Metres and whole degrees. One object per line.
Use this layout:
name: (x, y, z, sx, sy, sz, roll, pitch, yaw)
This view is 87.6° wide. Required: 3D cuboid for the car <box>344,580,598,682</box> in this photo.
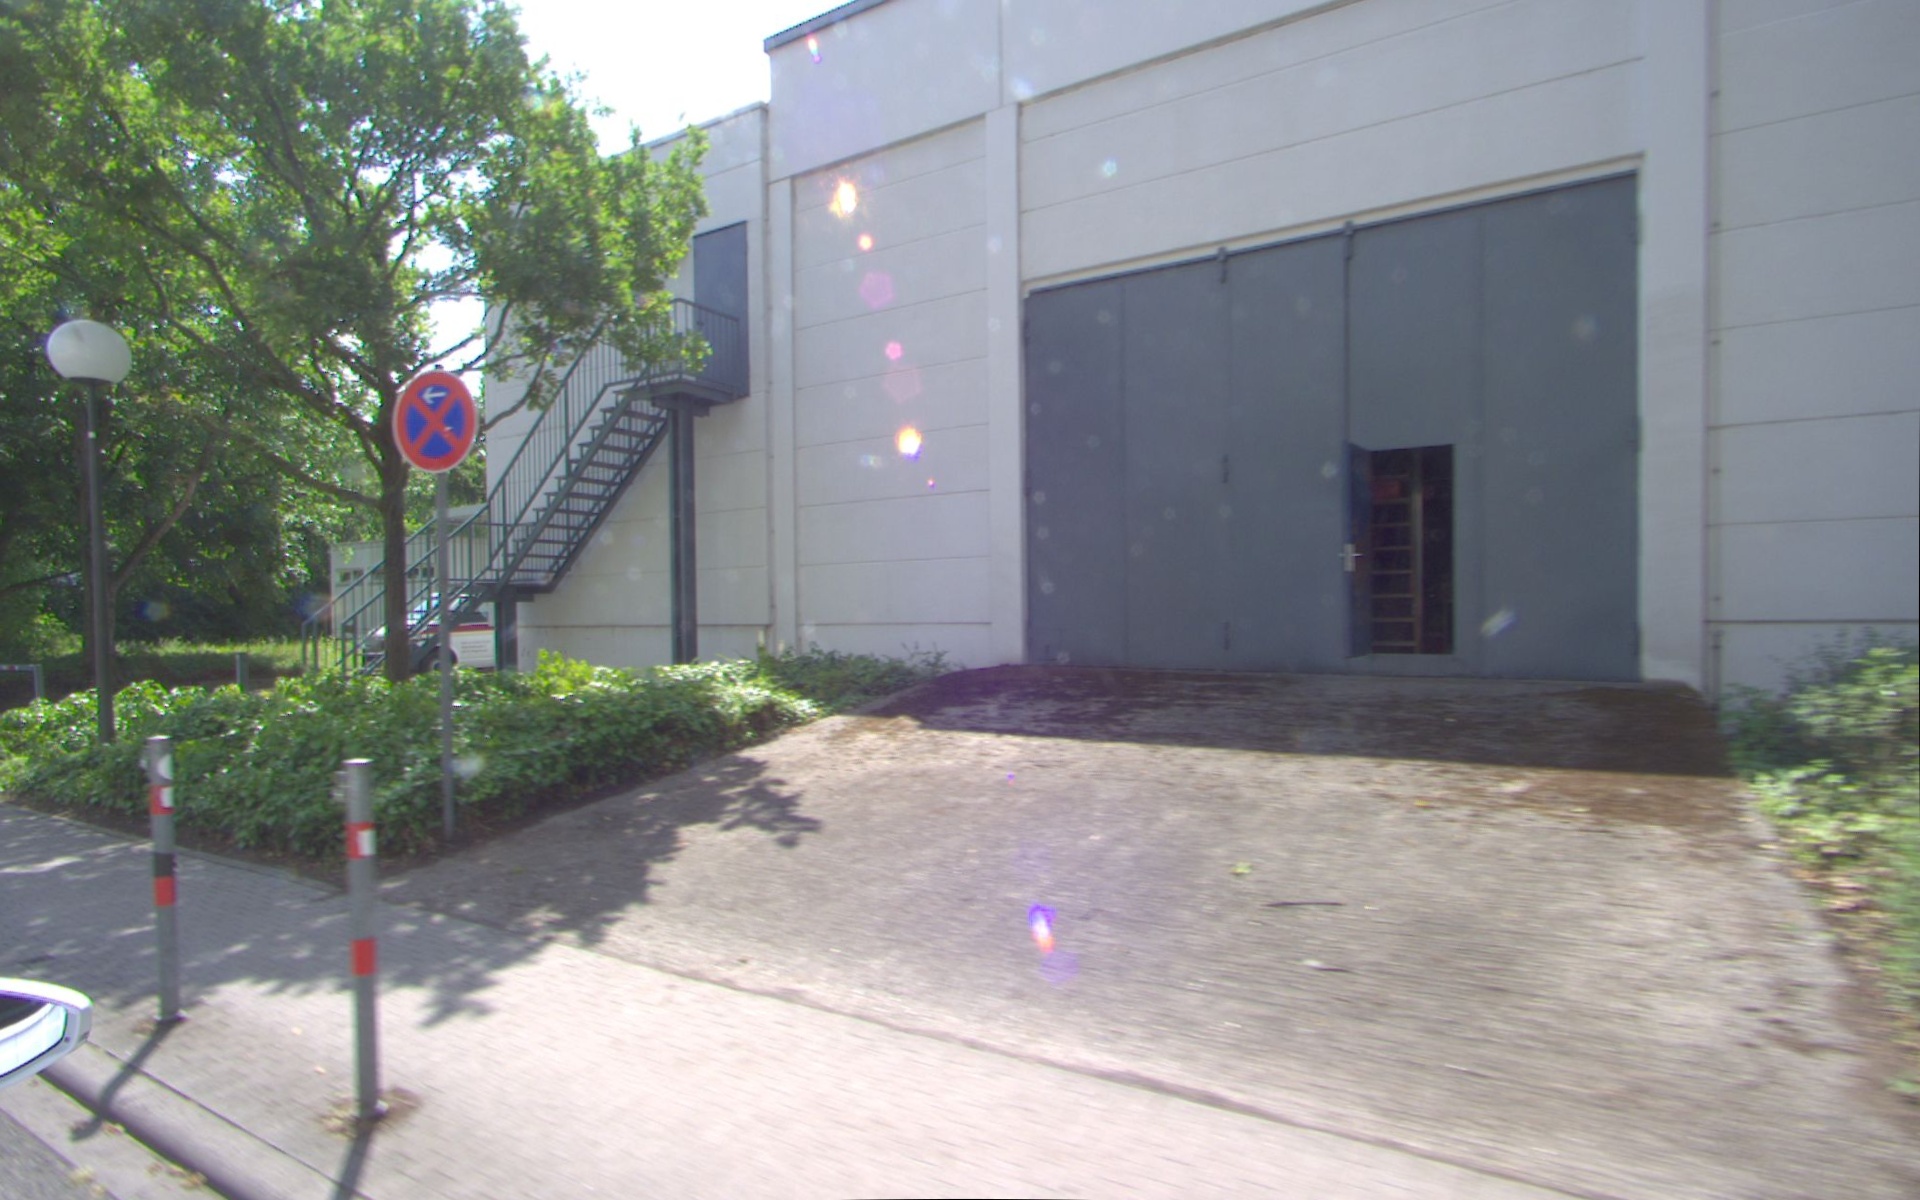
car: (-10.885, 0.628, 22.689, 2.033, 2.040, 4.814, -1, 0, 32)
